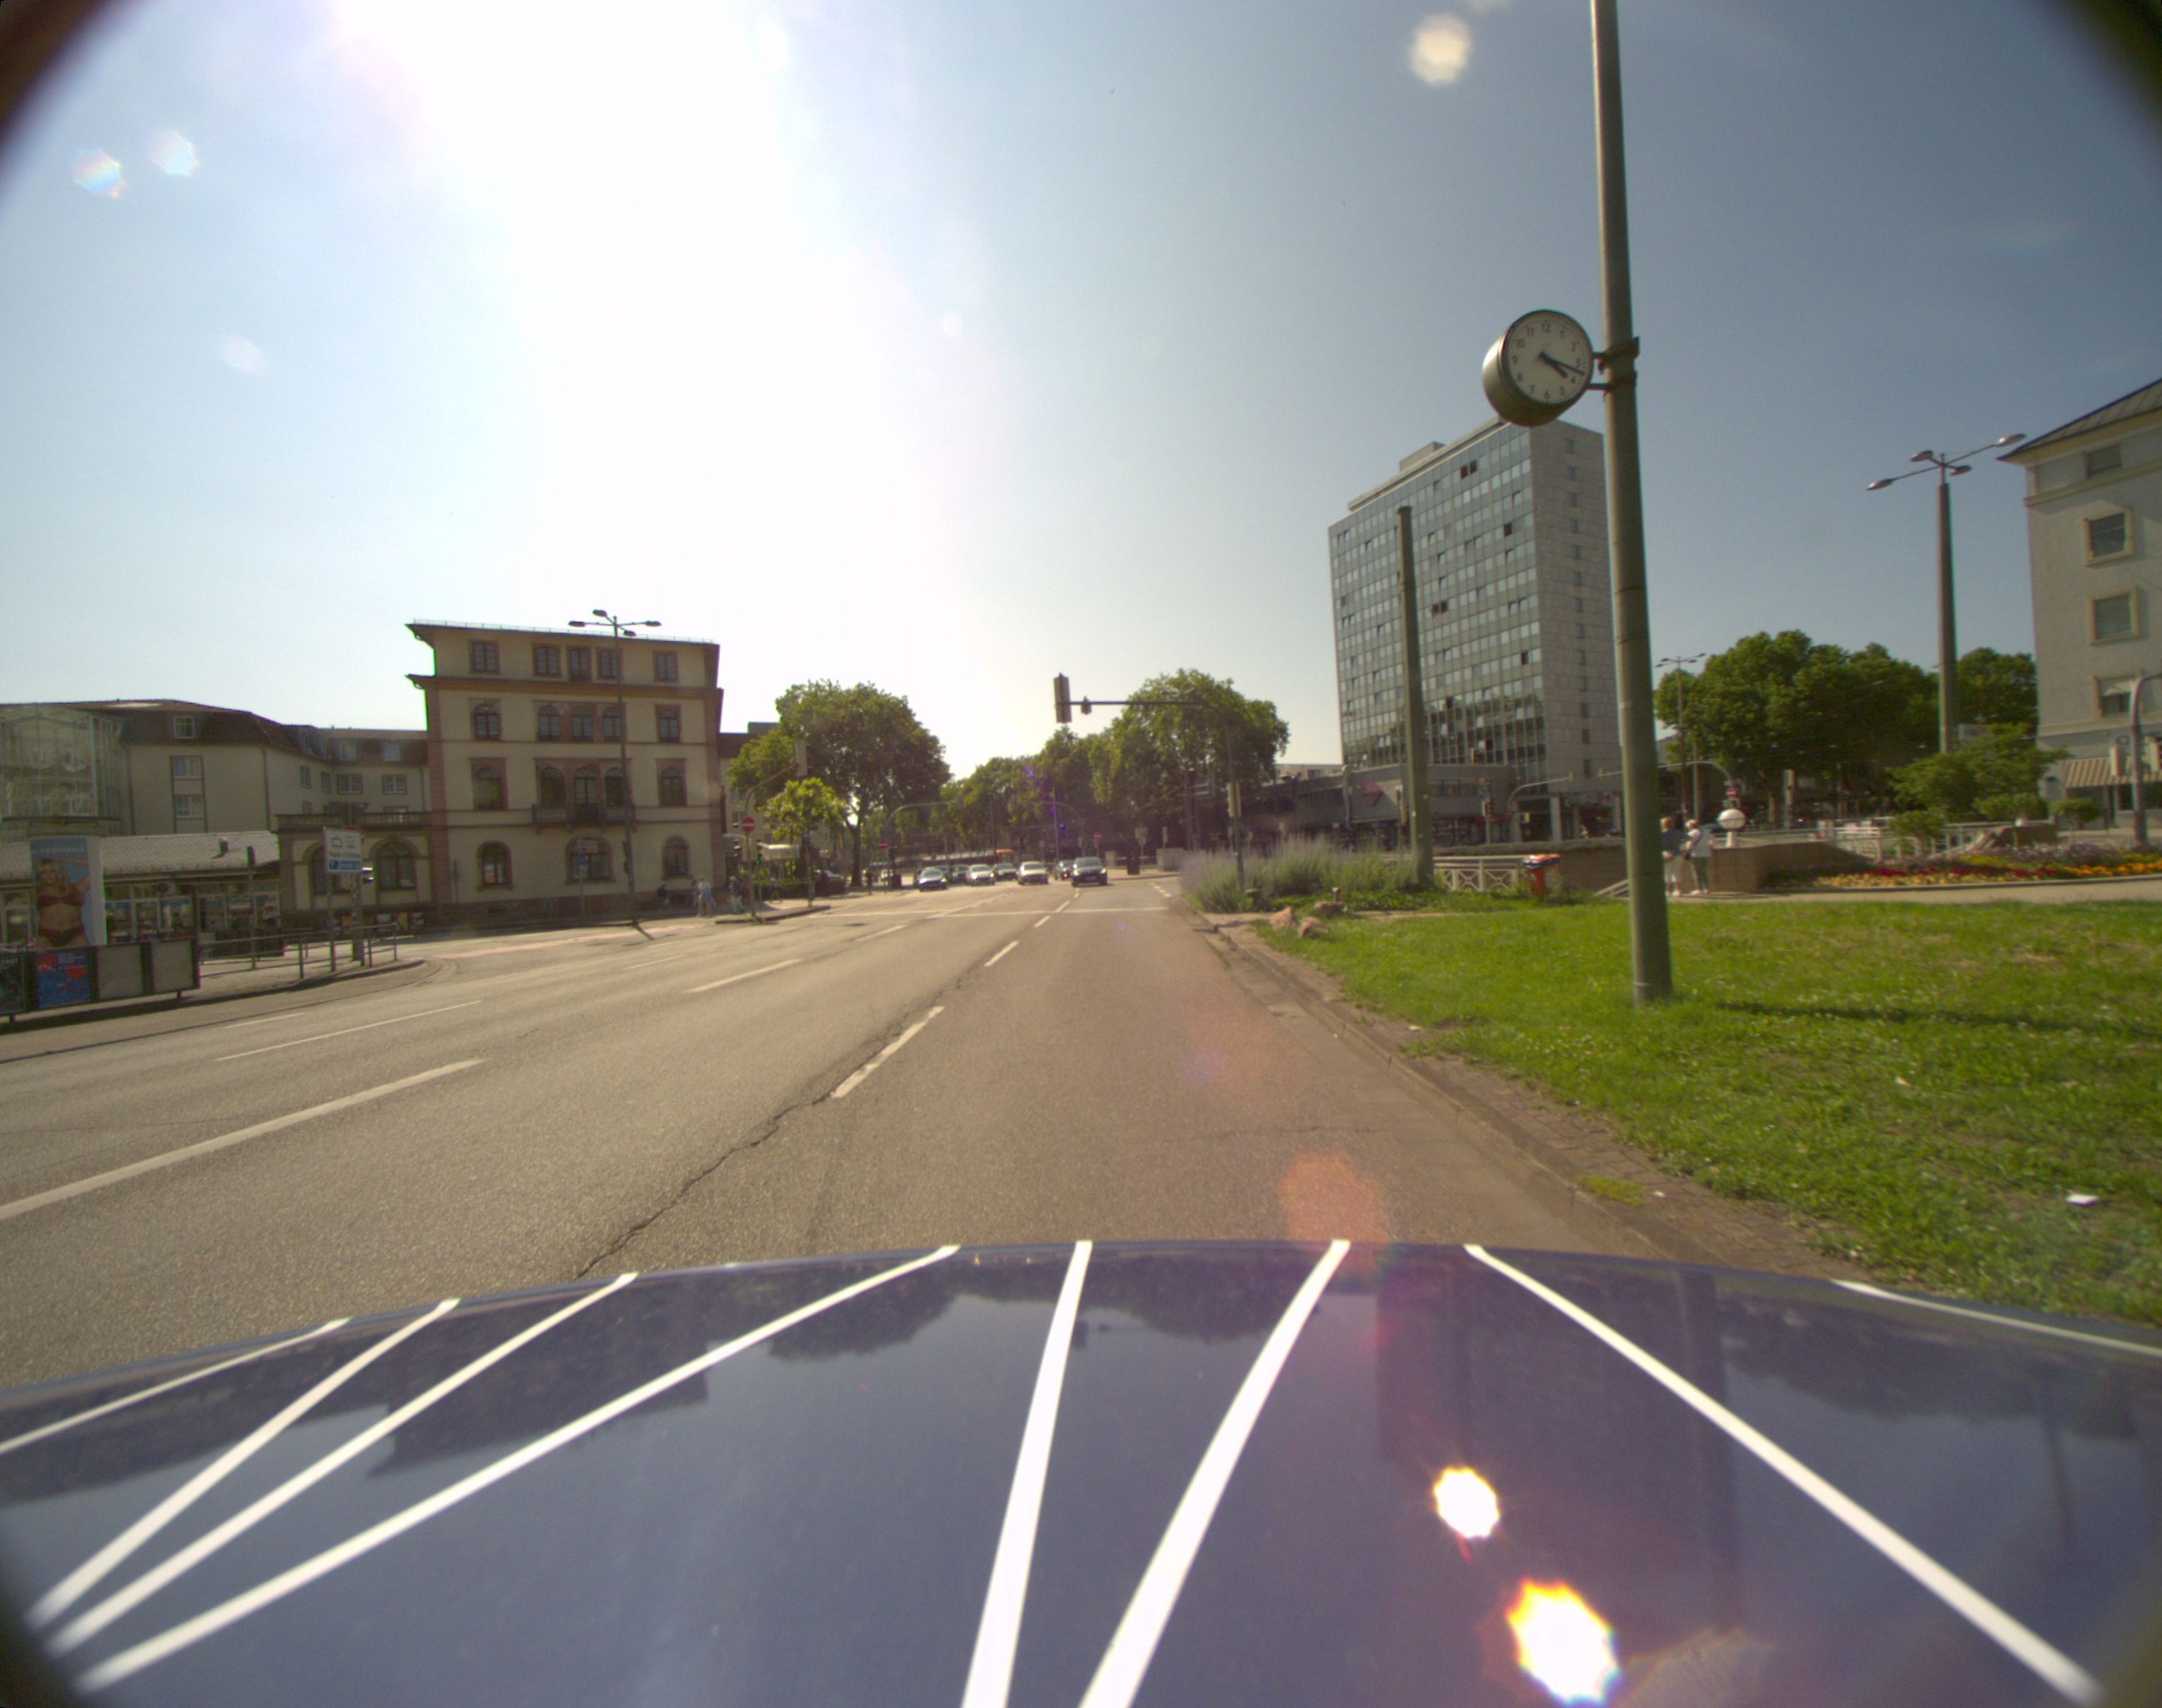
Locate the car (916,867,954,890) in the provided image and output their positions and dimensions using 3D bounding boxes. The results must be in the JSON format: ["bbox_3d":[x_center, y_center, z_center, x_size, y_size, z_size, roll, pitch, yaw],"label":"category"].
[{"bbox_3d":[-9.903,1.628,51.300,1.794,1.443,3.967,-2,0,-21],"label":"car"}]

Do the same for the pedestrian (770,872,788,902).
[{"bbox_3d":[-17.864,1.941,44.910,0.845,1.685,0.743,-4,1,-28],"label":"pedestrian"}]

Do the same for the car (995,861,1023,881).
[{"bbox_3d":[-5.937,1.365,62.674,1.793,1.514,3.970,-2,0,-12],"label":"car"}]

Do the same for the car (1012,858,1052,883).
[{"bbox_3d":[-3.209,1.093,49.164,1.721,1.491,4.486,-2,-1,-15],"label":"car"}]

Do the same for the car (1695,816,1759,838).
[{"bbox_3d":[53.095,-2.221,62.482,4.080,1.525,1.881,-3,0,-13],"label":"car"}]

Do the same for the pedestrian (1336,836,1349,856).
[{"bbox_3d":[24.756,-0.782,72.048,0.824,1.825,0.733,-3,1,-27],"label":"pedestrian"}]

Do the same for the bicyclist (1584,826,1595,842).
[{"bbox_3d":[48.591,-1.910,72.581,0.684,1.518,0.582,-4,2,-15],"label":"bicyclist"}]

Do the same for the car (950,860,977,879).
[{"bbox_3d":[-10.258,1.355,65.941,1.793,1.521,3.969,-2,0,-16],"label":"car"}]

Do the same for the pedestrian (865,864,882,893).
[{"bbox_3d":[-13.606,1.630,49.821,0.590,1.834,0.730,-3,1,41],"label":"pedestrian"}]

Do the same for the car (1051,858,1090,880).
[{"bbox_3d":[-0.811,1.084,56.114,1.793,1.508,3.968,-2,0,-17],"label":"car"}]

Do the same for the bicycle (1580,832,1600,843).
[{"bbox_3d":[48.624,-1.590,72.598,1.811,0.878,0.592,-4,2,-15],"label":"bicycle"}]

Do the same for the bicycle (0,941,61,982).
[{"bbox_3d":[-32.165,3.259,22.908,1.820,1.093,0.504,-3,0,-9],"label":"bicycle"}]

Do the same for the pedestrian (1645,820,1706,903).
[{"bbox_3d":[11.880,0.154,15.183,0.692,1.584,0.599,-4,1,-14],"label":"pedestrian"}]

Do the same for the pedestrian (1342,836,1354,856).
[{"bbox_3d":[25.071,-0.770,71.364,0.824,1.825,0.670,-3,1,-27],"label":"pedestrian"}]

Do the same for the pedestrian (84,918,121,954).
[{"bbox_3d":[-46.910,3.917,36.437,0.724,1.594,0.719,-3,0,3],"label":"pedestrian"}]

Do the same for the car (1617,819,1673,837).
[{"bbox_3d":[52.515,-2.425,70.747,4.165,1.452,1.881,-3,0,-13],"label":"car"}]

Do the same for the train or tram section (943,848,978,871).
[{"bbox_3d":[-19.081,0.964,119.632,2.738,3.248,8.720,-4,0,-27],"label":"train or tram section"}]

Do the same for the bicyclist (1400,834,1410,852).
[{"bbox_3d":[30.599,-1.056,71.728,0.683,1.677,0.584,-3,1,4],"label":"bicyclist"}]

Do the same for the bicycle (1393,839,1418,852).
[{"bbox_3d":[30.636,-0.767,71.731,1.967,1.096,0.577,-3,0,4],"label":"bicycle"}]

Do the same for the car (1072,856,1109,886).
[{"bbox_3d":[0.498,0.861,39.736,1.791,1.443,4.281,-2,0,1],"label":"car"}]

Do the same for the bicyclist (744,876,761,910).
[{"bbox_3d":[-16.018,1.895,37.065,0.594,1.597,0.683,-4,1,-17],"label":"bicyclist"}]

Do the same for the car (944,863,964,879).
[{"bbox_3d":[-12.283,1.637,73.823,1.792,1.443,3.971,-2,0,-8],"label":"car"}]

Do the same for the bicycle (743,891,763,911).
[{"bbox_3d":[-16.016,2.294,37.132,0.594,0.850,1.742,-4,0,-16],"label":"bicycle"}]

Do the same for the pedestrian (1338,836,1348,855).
[{"bbox_3d":[25.644,-0.811,74.360,0.822,1.796,0.672,-2,1,12],"label":"pedestrian"}]

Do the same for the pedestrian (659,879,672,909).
[{"bbox_3d":[-23.775,2.296,43.472,0.536,1.639,0.673,-4,1,-23],"label":"pedestrian"}]

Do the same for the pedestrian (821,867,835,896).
[{"bbox_3d":[-16.308,1.755,48.935,0.727,1.795,0.651,-4,1,-20],"label":"pedestrian"}]

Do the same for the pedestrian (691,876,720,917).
[{"bbox_3d":[-15.766,1.784,31.940,0.754,1.650,0.829,-4,0,-7],"label":"pedestrian"}]

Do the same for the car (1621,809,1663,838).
[{"bbox_3d":[60.832,-3.322,82.354,4.642,2.899,1.744,-4,0,-29],"label":"car"}]

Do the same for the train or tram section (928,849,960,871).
[{"bbox_3d":[-23.002,1.079,127.427,2.738,3.248,8.720,-4,0,-27],"label":"train or tram section"}]

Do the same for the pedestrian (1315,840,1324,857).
[{"bbox_3d":[23.435,-0.499,74.754,0.565,1.628,0.599,-3,1,-6],"label":"pedestrian"}]

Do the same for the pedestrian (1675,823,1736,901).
[{"bbox_3d":[12.596,0.157,15.329,0.851,1.501,0.474,-4,1,-14],"label":"pedestrian"}]

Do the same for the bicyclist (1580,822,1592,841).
[{"bbox_3d":[49.537,-2.190,74.534,0.684,1.758,0.696,-3,2,-9],"label":"bicyclist"}]

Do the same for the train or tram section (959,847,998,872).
[{"bbox_3d":[-15.136,0.848,111.849,2.738,3.248,8.720,-4,0,-27],"label":"train or tram section"}]

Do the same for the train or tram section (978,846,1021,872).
[{"bbox_3d":[-11.199,0.732,104.106,2.738,3.248,8.720,-4,0,-27],"label":"train or tram section"}]

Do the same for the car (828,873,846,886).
[{"bbox_3d":[-27.121,2.779,84.283,1.592,1.314,3.573,-4,0,-21],"label":"car"}]

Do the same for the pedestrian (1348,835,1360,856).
[{"bbox_3d":[25.236,-0.790,70.225,0.824,1.825,0.670,-3,1,-27],"label":"pedestrian"}]

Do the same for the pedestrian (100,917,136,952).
[{"bbox_3d":[-46.883,3.922,36.995,0.724,1.594,0.719,-3,0,3],"label":"pedestrian"}]

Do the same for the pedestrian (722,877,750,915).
[{"bbox_3d":[-14.865,1.787,32.782,0.773,1.563,0.829,-4,0,-6],"label":"pedestrian"}]

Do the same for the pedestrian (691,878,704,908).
[{"bbox_3d":[-21.732,2.201,43.022,0.536,1.639,0.579,-4,1,-23],"label":"pedestrian"}]

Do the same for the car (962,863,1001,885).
[{"bbox_3d":[-7.114,1.416,54.007,1.794,1.443,3.967,-2,0,-22],"label":"car"}]
